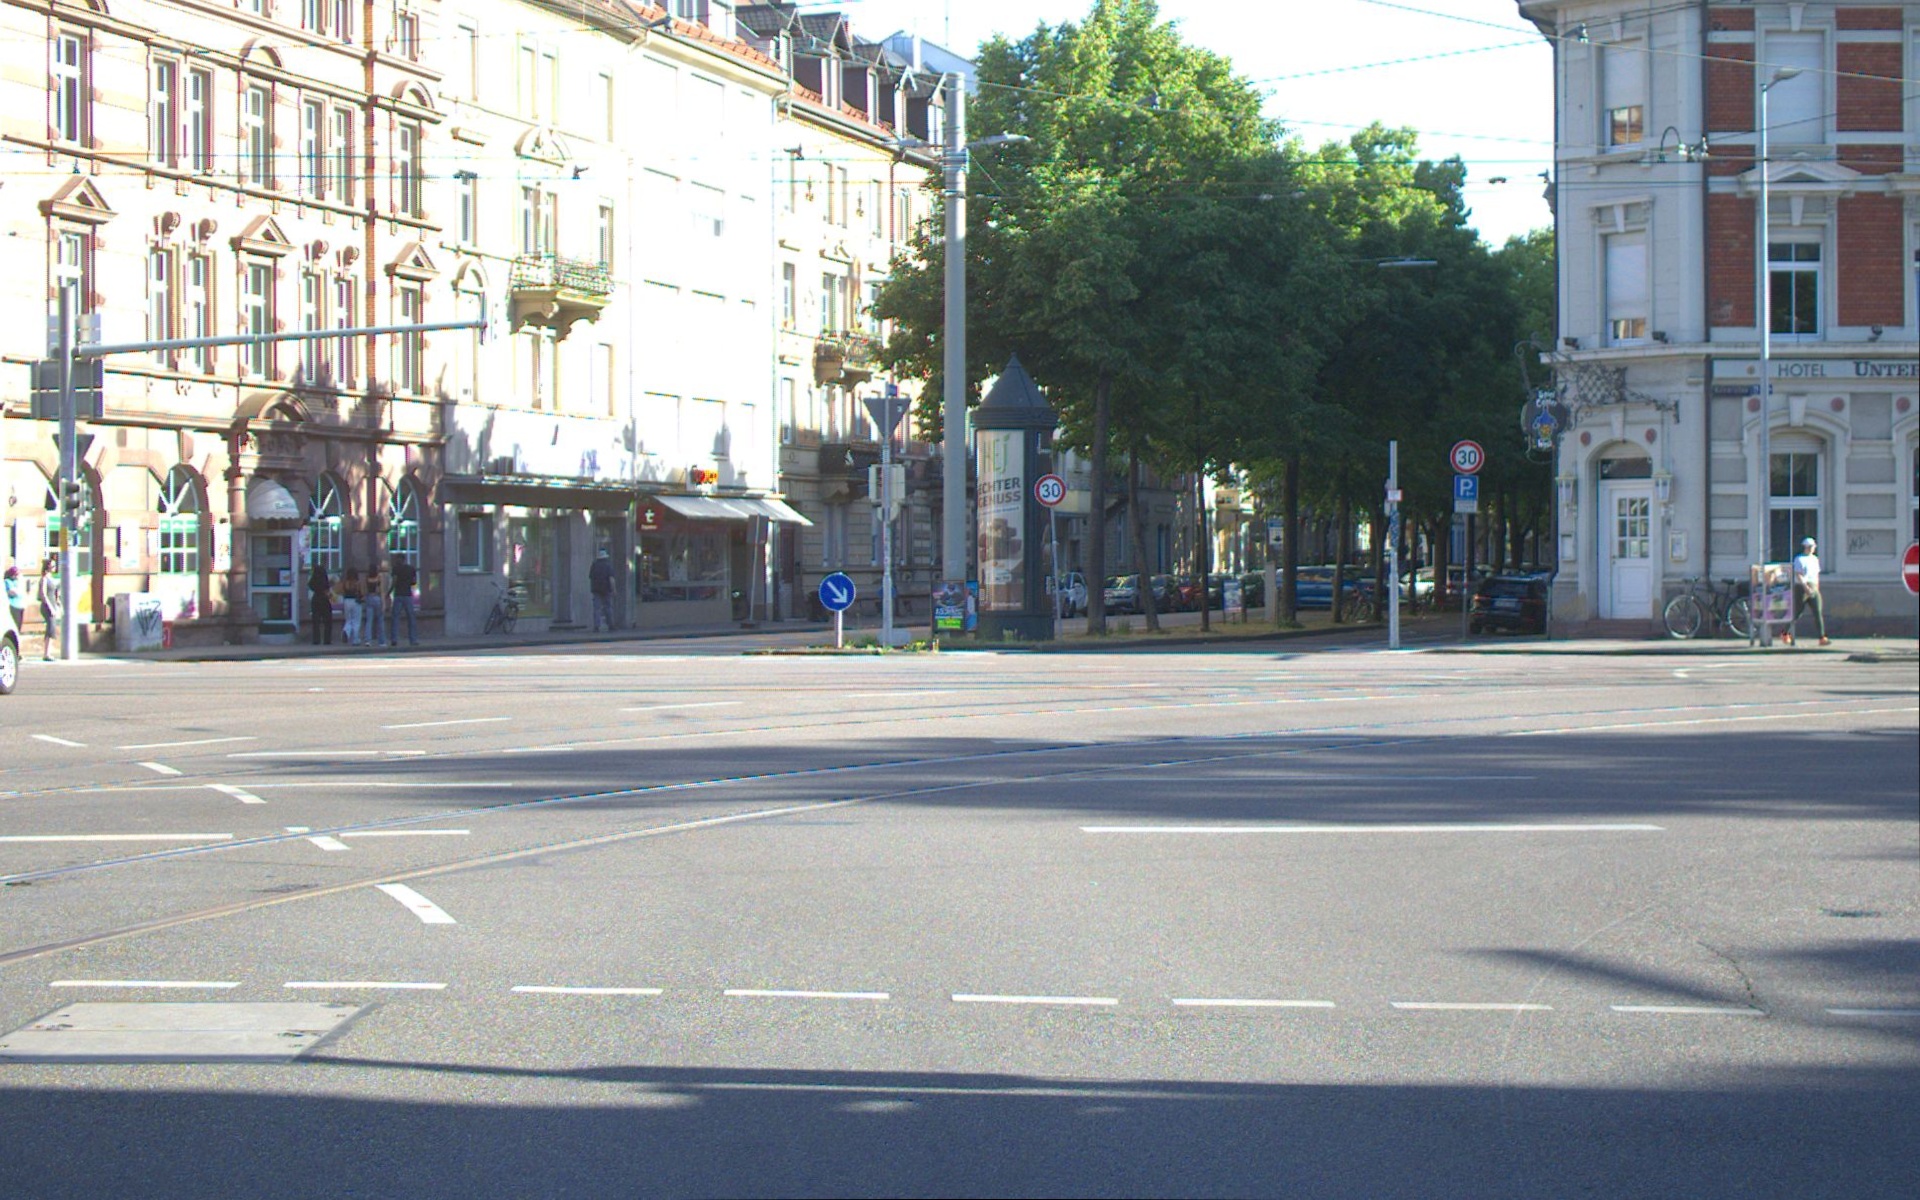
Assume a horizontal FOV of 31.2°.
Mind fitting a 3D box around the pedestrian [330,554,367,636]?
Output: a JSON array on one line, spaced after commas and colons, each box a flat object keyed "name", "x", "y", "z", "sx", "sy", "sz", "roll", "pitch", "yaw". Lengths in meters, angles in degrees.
[{"name": "pedestrian", "x": -12.266, "y": -0.102, "z": 68.948, "sx": 0.551, "sy": 1.636, "sz": 0.537, "roll": 0, "pitch": 1, "yaw": 13}]

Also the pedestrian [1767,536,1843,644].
[{"name": "pedestrian", "x": 13.182, "y": -0.160, "z": 53.675, "sx": 0.715, "sy": 1.664, "sz": 0.939, "roll": -1, "pitch": 1, "yaw": -26}]

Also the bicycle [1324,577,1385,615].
[{"name": "bicycle", "x": 11.382, "y": -0.131, "z": 99.251, "sx": 0.582, "sy": 1.063, "sz": 1.949, "roll": -1, "pitch": 1, "yaw": -37}]

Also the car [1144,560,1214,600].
[{"name": "car", "x": 8.401, "y": -0.769, "z": 131.764, "sx": 1.995, "sy": 1.492, "sz": 4.031, "roll": 0, "pitch": 1, "yaw": 14}]

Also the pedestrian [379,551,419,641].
[{"name": "pedestrian", "x": -11.406, "y": -0.082, "z": 69.910, "sx": 0.580, "sy": 1.830, "sz": 0.632, "roll": 0, "pitch": 1, "yaw": 16}]

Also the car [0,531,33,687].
[{"name": "car", "x": -10.125, "y": 0.108, "z": 32.025, "sx": 1.718, "sy": 1.492, "sz": 3.583, "roll": 0, "pitch": 1, "yaw": 5}]

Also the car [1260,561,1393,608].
[{"name": "car", "x": 12.329, "y": -0.518, "z": 115.676, "sx": 3.993, "sy": 1.540, "sz": 1.997, "roll": 0, "pitch": 1, "yaw": 28}]

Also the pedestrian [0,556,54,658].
[{"name": "pedestrian", "x": -15.211, "y": 0.110, "z": 56.005, "sx": 0.675, "sy": 1.636, "sz": 0.578, "roll": 0, "pitch": 1, "yaw": 13}]

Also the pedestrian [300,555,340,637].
[{"name": "pedestrian", "x": -12.849, "y": -0.088, "z": 69.046, "sx": 0.627, "sy": 1.636, "sz": 0.537, "roll": 0, "pitch": 1, "yaw": 12}]

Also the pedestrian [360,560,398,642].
[{"name": "pedestrian", "x": -11.655, "y": 0.024, "z": 68.944, "sx": 0.551, "sy": 1.636, "sz": 0.632, "roll": 0, "pitch": 1, "yaw": 13}]

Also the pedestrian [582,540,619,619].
[{"name": "pedestrian", "x": -8.632, "y": -0.492, "z": 82.537, "sx": 0.682, "sy": 1.902, "sz": 0.632, "roll": 0, "pitch": 1, "yaw": 16}]

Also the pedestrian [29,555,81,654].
[{"name": "pedestrian", "x": -15.061, "y": 0.067, "z": 57.217, "sx": 0.631, "sy": 1.636, "sz": 0.552, "roll": 0, "pitch": 1, "yaw": 13}]

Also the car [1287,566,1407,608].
[{"name": "car", "x": 14.446, "y": -0.492, "z": 128.306, "sx": 3.993, "sy": 1.540, "sz": 1.997, "roll": 0, "pitch": 1, "yaw": 28}]

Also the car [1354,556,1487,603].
[{"name": "car", "x": 15.598, "y": -0.694, "z": 116.468, "sx": 3.994, "sy": 1.540, "sz": 1.997, "roll": 0, "pitch": 1, "yaw": 31}]

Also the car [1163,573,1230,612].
[{"name": "car", "x": 9.415, "y": -0.309, "z": 136.533, "sx": 1.995, "sy": 1.492, "sz": 4.031, "roll": 0, "pitch": 1, "yaw": 14}]

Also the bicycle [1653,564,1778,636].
[{"name": "bicycle", "x": 12.561, "y": -0.003, "z": 57.177, "sx": 1.961, "sy": 1.186, "sz": 0.546, "roll": 0, "pitch": 1, "yaw": 5}]

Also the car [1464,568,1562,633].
[{"name": "car", "x": 13.274, "y": -0.004, "z": 82.416, "sx": 1.995, "sy": 1.492, "sz": 4.031, "roll": 0, "pitch": 1, "yaw": 14}]

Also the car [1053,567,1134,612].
[{"name": "car", "x": 4.588, "y": -0.369, "z": 117.361, "sx": 1.995, "sy": 1.492, "sz": 4.031, "roll": 0, "pitch": 1, "yaw": 14}]

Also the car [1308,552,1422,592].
[{"name": "car", "x": 15.840, "y": -1.109, "z": 134.460, "sx": 3.993, "sy": 1.540, "sz": 1.997, "roll": 0, "pitch": 1, "yaw": 28}]

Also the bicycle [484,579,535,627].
[{"name": "bicycle", "x": -10.426, "y": 0.063, "z": 79.553, "sx": 0.495, "sy": 1.063, "sz": 1.768, "roll": 0, "pitch": 1, "yaw": 16}]

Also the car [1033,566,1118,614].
[{"name": "car", "x": 3.811, "y": -0.335, "z": 112.874, "sx": 1.995, "sy": 1.492, "sz": 4.031, "roll": 0, "pitch": 1, "yaw": 14}]

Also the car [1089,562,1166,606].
[{"name": "car", "x": 5.979, "y": -0.586, "z": 122.594, "sx": 1.995, "sy": 1.492, "sz": 4.031, "roll": 0, "pitch": 1, "yaw": 14}]
